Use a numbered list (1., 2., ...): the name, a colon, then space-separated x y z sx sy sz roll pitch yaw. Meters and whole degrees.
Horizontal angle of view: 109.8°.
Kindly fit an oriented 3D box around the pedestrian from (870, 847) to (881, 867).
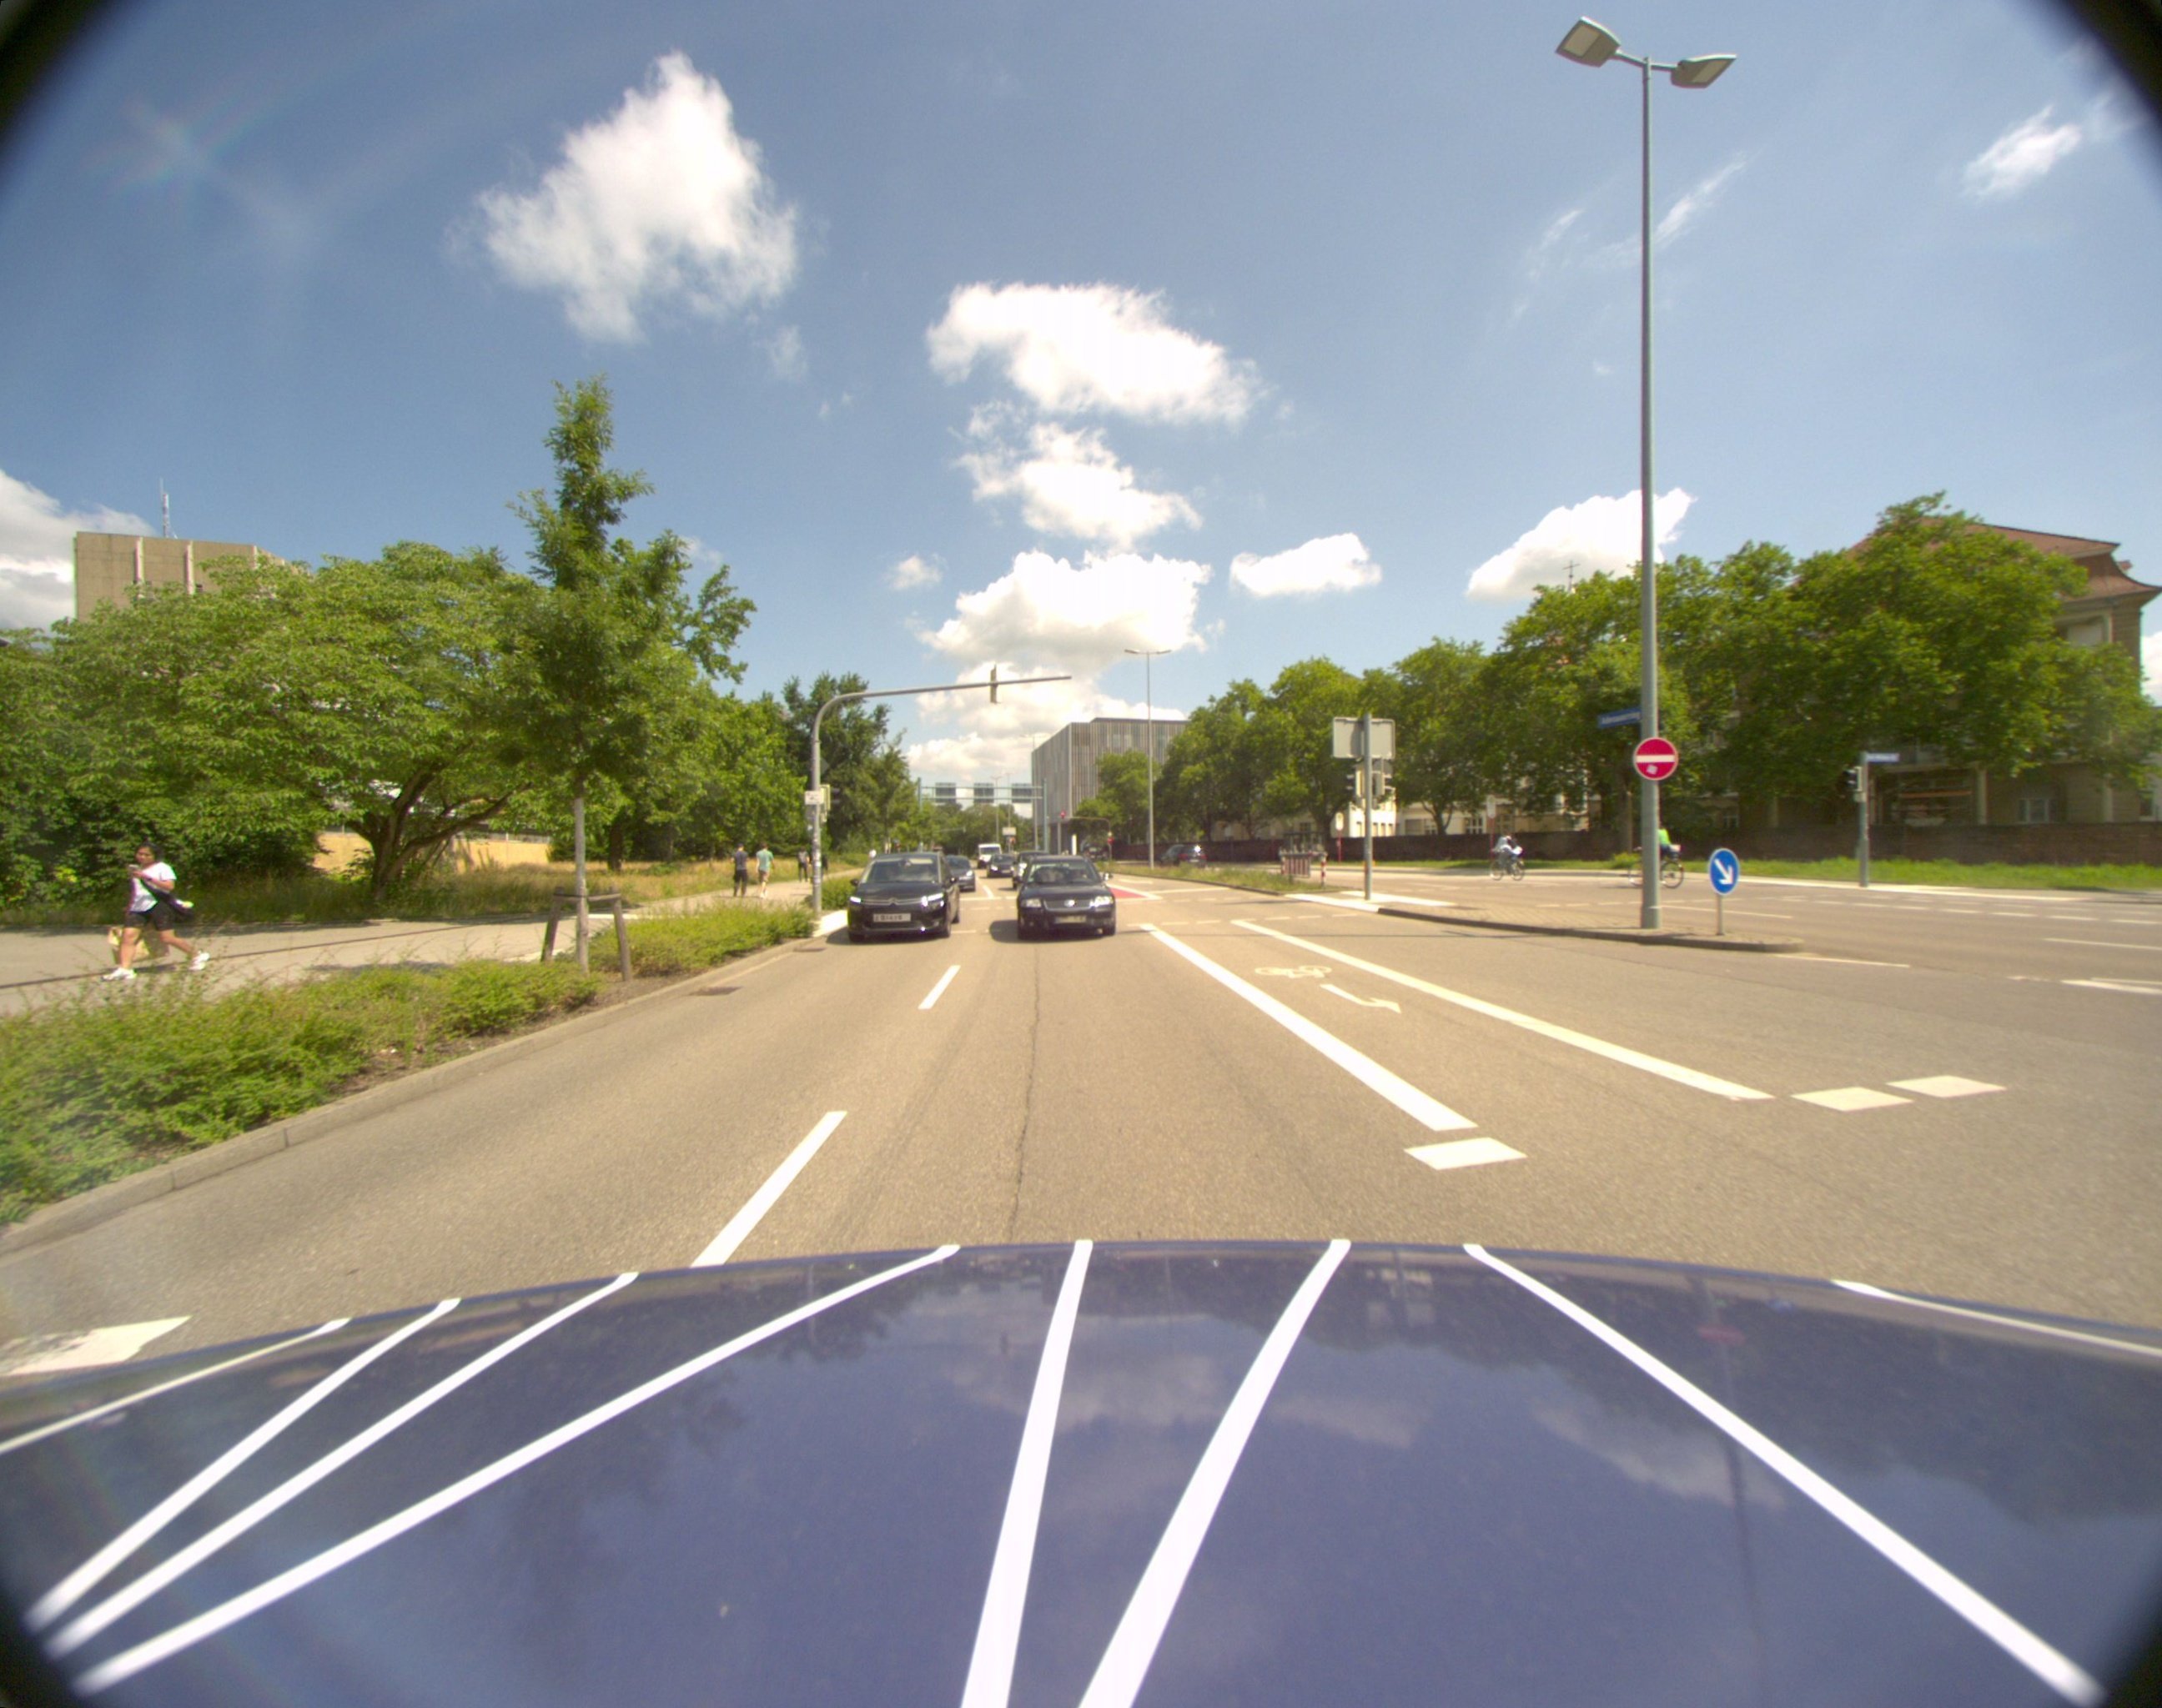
1. pedestrian: -19.269 0.273 71.356 0.845 1.755 0.841 -2 2 -10

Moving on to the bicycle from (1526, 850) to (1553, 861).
1. bicycle: 31.923 0.090 52.888 0.399 0.784 1.540 -1 1 -37

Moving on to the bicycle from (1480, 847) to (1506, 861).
1. bicycle: 30.023 -0.016 55.403 0.399 1.024 1.683 -1 1 -37

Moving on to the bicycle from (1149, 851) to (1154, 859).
1. bicycle: 9.018 0.122 97.089 0.382 1.101 1.671 -1 1 11

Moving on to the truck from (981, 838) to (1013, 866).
1. truck: -7.672 -0.149 68.637 2.463 2.287 5.810 -3 1 -9

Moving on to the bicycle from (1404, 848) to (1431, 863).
1. bicycle: 26.649 0.102 60.255 0.399 1.130 2.034 -1 1 -34

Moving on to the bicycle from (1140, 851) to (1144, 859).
1. bicycle: 8.075 0.116 100.697 0.329 1.012 1.671 -1 1 11

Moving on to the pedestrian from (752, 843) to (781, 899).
1. pedestrian: -10.151 0.550 24.519 0.752 1.767 0.880 1 0 -16

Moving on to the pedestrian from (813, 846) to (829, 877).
1. pedestrian: -14.707 0.405 42.997 0.668 1.739 0.877 1 0 -10

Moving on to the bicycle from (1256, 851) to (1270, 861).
1. bicycle: 18.022 0.183 75.231 0.398 1.037 1.758 -1 1 -26

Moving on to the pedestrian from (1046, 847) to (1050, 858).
1. pedestrian: -5.889 -0.271 136.424 0.632 1.907 0.717 -2 2 -13

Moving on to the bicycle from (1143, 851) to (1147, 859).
1. bicycle: 8.372 0.124 99.809 0.329 1.012 1.671 -1 1 11

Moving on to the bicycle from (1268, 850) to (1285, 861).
1. bicycle: 18.879 0.178 73.479 0.398 1.037 1.953 -1 1 -27

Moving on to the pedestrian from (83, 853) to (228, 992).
1. pedestrian: -11.111 0.780 9.164 0.753 1.587 0.880 1 0 -17

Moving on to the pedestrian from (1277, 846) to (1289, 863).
1. pedestrian: 18.680 0.039 70.303 0.724 1.602 0.779 -1 1 -39

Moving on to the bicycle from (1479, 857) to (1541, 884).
1. bicycle: 14.733 0.542 26.162 0.778 0.884 2.107 -1 0 -7

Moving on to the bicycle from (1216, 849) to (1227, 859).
1. bicycle: 15.094 0.029 81.607 0.378 1.037 1.414 -1 1 -24

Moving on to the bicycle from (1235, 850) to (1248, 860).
1. bicycle: 16.550 0.124 78.466 0.398 1.037 1.580 -1 1 -24

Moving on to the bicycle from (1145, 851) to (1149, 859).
1. bicycle: 8.605 0.119 99.126 0.329 1.012 1.671 -1 1 11

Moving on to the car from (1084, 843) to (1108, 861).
1. car: 1.802 -0.211 92.494 2.216 2.158 4.516 0 0 -9

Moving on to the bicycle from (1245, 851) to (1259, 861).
1. bicycle: 17.261 0.162 76.884 0.398 0.998 1.758 -1 1 -24

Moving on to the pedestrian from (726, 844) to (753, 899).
1. pedestrian: -10.848 0.553 24.154 0.669 1.736 0.608 1 0 -16

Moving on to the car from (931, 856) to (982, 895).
1. car: -5.129 0.818 30.905 1.767 1.409 4.359 -3 1 -12

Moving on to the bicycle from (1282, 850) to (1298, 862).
1. bicycle: 19.783 0.181 71.834 0.398 1.037 1.636 -1 1 -29

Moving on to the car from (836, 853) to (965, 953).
1. car: -3.438 0.839 15.327 1.863 1.613 4.517 -3 1 -6

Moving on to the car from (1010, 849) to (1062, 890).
1. car: -1.930 0.596 31.487 1.752 1.496 4.517 -3 1 -8

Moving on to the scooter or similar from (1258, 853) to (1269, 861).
1. scooter or similar: 17.791 0.319 74.240 0.354 0.789 1.067 -1 1 -35

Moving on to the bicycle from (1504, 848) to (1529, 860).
1. bicycle: 31.016 -0.002 54.111 0.399 0.784 1.462 -1 1 -37

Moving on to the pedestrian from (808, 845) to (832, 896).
1. pedestrian: -8.982 0.568 26.176 0.668 1.739 0.847 1 0 -10

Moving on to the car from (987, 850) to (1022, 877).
1. car: -4.734 0.544 46.593 1.753 1.496 4.516 -3 1 -9

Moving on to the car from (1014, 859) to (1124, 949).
1. car: -0.396 0.838 14.844 1.752 1.426 4.517 -1 0 -6

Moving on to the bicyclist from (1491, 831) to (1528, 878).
1. bicyclist: 14.729 0.014 26.126 0.778 1.609 0.842 -1 1 -7

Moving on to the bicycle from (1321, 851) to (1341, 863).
1. bicycle: 22.137 0.288 67.395 0.398 1.037 1.953 -1 1 -29

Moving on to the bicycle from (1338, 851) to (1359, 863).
1. bicycle: 23.112 0.255 65.613 0.398 1.037 1.953 -1 1 -29

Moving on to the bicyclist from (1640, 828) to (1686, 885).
1. bicyclist: 15.401 0.062 20.117 0.567 1.453 0.836 -1 1 -3

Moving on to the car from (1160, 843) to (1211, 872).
1. car: 6.228 0.216 45.699 1.887 1.614 4.151 -2 0 -9

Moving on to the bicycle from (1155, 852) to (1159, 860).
1. bicycle: 9.606 0.244 95.925 0.382 1.101 1.671 -1 1 11

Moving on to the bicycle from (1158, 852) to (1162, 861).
1. bicycle: 9.862 0.250 95.097 0.382 1.101 1.671 -1 1 11

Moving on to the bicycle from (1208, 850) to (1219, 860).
1. bicycle: 14.490 0.076 83.045 0.383 1.037 1.667 -1 1 -22

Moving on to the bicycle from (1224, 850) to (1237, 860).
1. bicycle: 15.749 0.084 80.120 0.398 1.037 1.758 -1 1 -24

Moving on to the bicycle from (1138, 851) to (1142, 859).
1. bicycle: 7.813 0.112 101.391 0.329 1.012 1.671 -1 1 11

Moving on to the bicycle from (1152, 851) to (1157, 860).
1. bicycle: 9.353 0.135 96.705 0.382 1.101 1.671 -1 1 11

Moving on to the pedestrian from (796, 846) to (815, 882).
1. pedestrian: -13.396 0.469 36.994 0.752 1.739 0.666 1 0 -10

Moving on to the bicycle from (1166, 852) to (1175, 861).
1. bicycle: 10.914 0.280 92.714 0.383 1.101 1.667 -1 1 -19

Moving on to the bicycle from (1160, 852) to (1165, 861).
1. bicycle: 10.132 0.257 94.379 0.382 1.101 1.671 -1 1 11

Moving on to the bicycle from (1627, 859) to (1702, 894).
1. bicycle: 15.405 0.573 20.121 0.569 0.884 1.742 -1 0 -3

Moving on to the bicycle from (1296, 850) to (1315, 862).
1. bicycle: 20.707 0.194 70.172 0.398 1.037 1.953 -1 1 -29
